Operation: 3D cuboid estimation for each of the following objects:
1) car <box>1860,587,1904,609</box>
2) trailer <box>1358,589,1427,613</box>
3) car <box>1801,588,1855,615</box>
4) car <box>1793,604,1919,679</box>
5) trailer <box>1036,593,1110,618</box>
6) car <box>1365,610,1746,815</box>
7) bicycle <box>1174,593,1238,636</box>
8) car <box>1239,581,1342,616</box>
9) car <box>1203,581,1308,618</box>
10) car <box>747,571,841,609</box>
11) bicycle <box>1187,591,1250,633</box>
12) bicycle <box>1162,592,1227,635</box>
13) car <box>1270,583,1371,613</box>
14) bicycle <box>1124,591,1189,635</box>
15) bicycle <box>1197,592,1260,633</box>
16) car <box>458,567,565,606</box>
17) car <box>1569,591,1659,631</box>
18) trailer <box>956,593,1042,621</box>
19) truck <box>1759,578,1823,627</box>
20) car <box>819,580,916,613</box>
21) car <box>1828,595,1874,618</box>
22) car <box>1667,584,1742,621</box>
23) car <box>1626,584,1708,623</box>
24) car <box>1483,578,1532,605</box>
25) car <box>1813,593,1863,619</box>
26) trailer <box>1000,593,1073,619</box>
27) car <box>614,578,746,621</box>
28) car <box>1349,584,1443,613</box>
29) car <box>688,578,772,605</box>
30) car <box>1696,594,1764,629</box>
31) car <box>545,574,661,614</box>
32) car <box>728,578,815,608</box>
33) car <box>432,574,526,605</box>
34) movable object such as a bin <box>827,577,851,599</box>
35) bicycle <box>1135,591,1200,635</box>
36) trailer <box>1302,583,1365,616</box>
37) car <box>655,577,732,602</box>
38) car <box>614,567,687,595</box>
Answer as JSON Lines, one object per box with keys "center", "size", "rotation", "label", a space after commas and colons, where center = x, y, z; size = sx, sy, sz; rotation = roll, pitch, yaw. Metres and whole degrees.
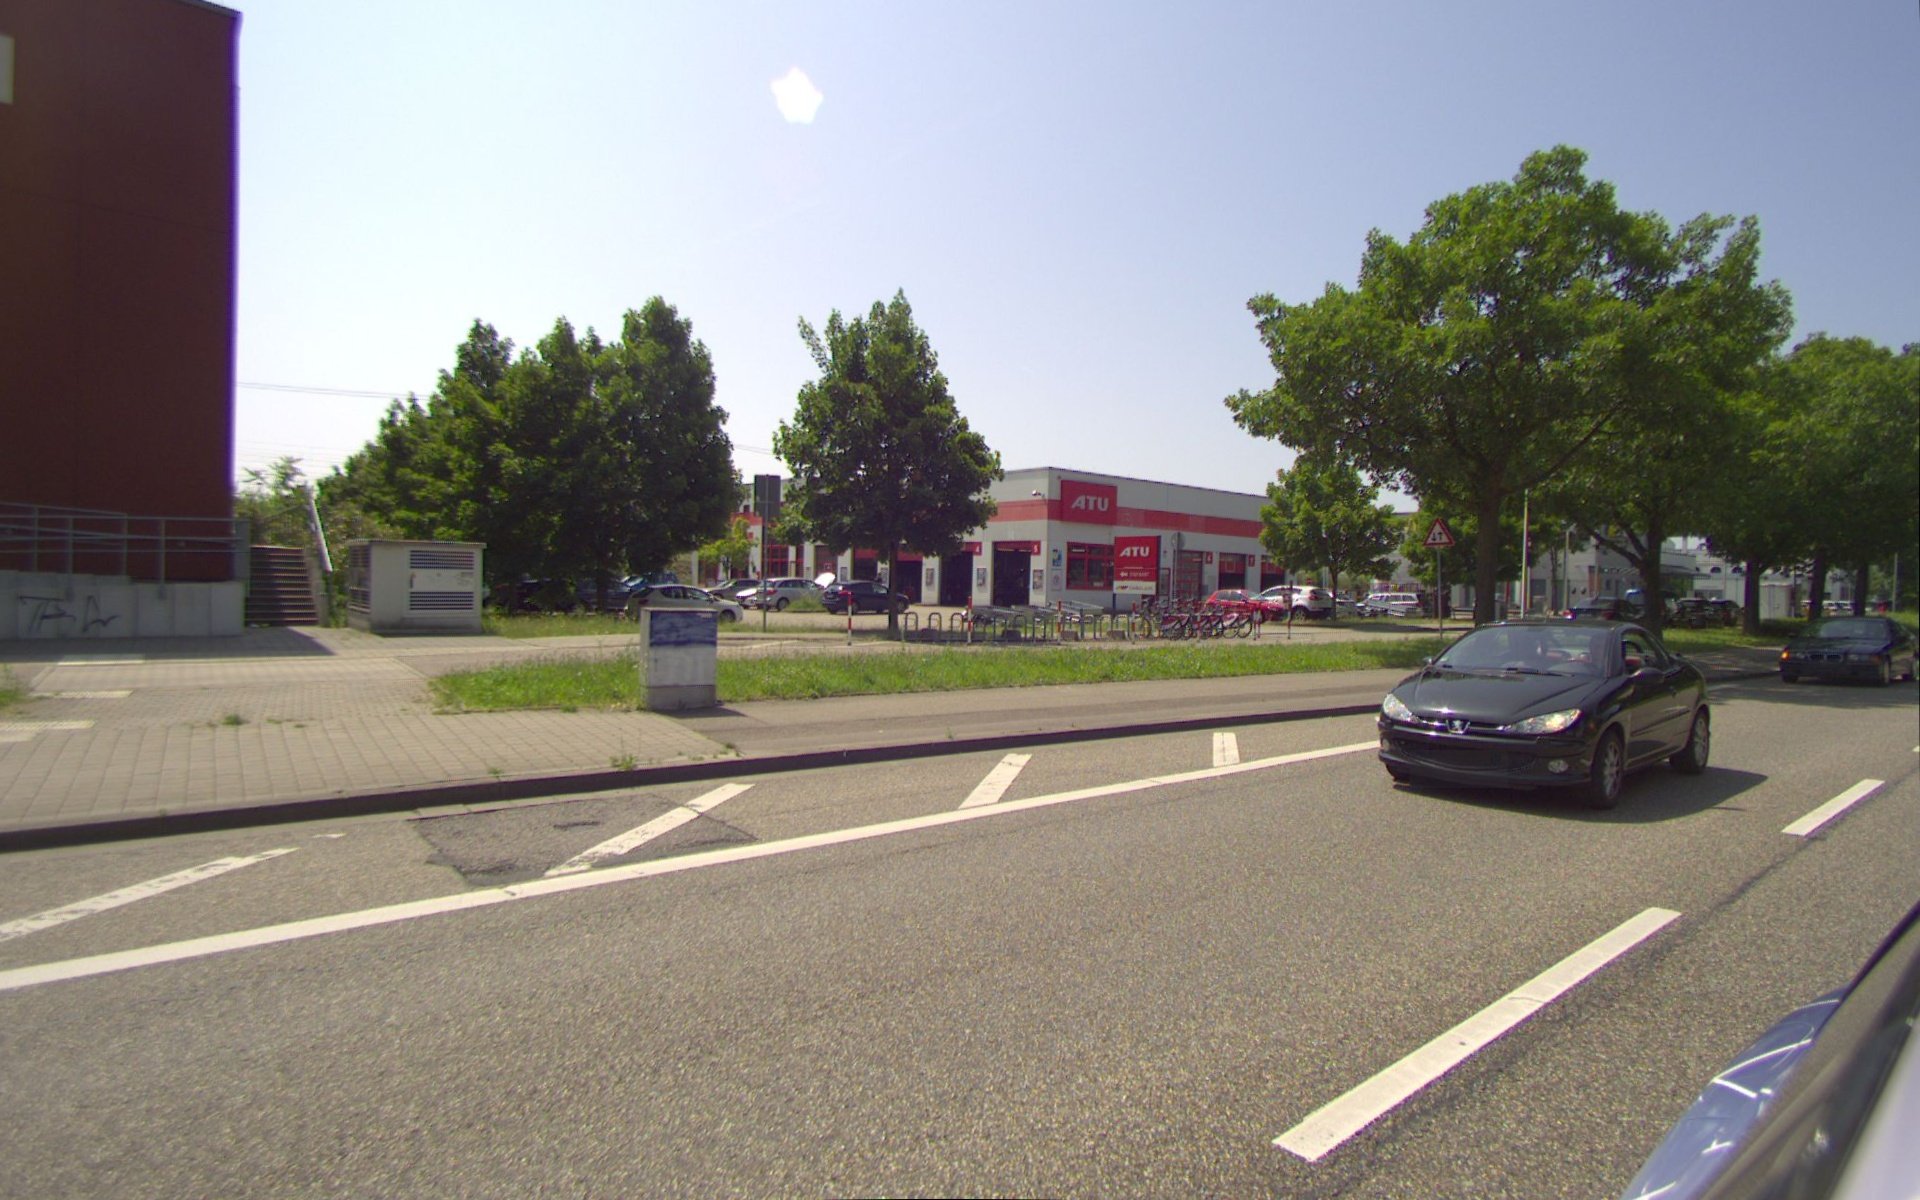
{"center": [65.796, -0.143, 72.195], "size": [3.928, 1.485, 1.719], "rotation": [1, 1, -40], "label": "car"}
{"center": [20.733, 0.051, 48.536], "size": [1.551, 1.065, 2.639], "rotation": [1, 1, -42], "label": "trailer"}
{"center": [50.640, 0.104, 59.016], "size": [3.928, 1.485, 1.719], "rotation": [1, 1, -40], "label": "car"}
{"center": [18.634, 0.789, 20.822], "size": [4.072, 1.388, 1.640], "rotation": [1, -1, -41], "label": "car"}
{"center": [3.774, 0.171, 33.933], "size": [1.368, 0.771, 2.138], "rotation": [1, 1, -38], "label": "trailer"}
{"center": [5.222, 0.772, 8.667], "size": [3.929, 1.361, 1.641], "rotation": [1, -1, -41], "label": "car"}
{"center": [7.096, 0.405, 29.288], "size": [1.780, 1.138, 0.506], "rotation": [3, 1, 44], "label": "bicycle"}
{"center": [14.538, -0.089, 44.618], "size": [1.717, 1.419, 3.993], "rotation": [1, 1, -42], "label": "car"}
{"center": [12.590, -0.057, 43.253], "size": [1.717, 1.419, 3.993], "rotation": [1, 1, -42], "label": "car"}
{"center": [-7.816, -0.471, 47.928], "size": [4.072, 1.683, 1.716], "rotation": [0, 1, -40], "label": "car"}
{"center": [7.591, 0.342, 29.779], "size": [1.780, 1.138, 0.506], "rotation": [3, 1, 44], "label": "bicycle"}
{"center": [6.658, 0.369, 28.835], "size": [1.780, 1.138, 0.506], "rotation": [3, 1, 44], "label": "bicycle"}
{"center": [16.397, -0.111, 46.096], "size": [1.717, 1.223, 3.993], "rotation": [1, 1, -42], "label": "car"}
{"center": [5.438, 0.336, 28.108], "size": [1.780, 1.138, 0.506], "rotation": [3, 1, 44], "label": "bicycle"}
{"center": [8.014, 0.348, 30.225], "size": [1.780, 1.138, 0.506], "rotation": [3, 1, 44], "label": "bicycle"}
{"center": [-19.517, -0.560, 44.113], "size": [3.927, 1.600, 1.711], "rotation": [1, 1, -39], "label": "car"}
{"center": [24.183, 0.396, 37.380], "size": [3.928, 1.388, 1.642], "rotation": [1, 1, -40], "label": "car"}
{"center": [1.200, 0.207, 31.736], "size": [1.423, 0.771, 2.467], "rotation": [1, 1, -38], "label": "trailer"}
{"center": [45.851, 0.125, 55.829], "size": [3.927, 2.599, 1.905], "rotation": [1, 1, -38], "label": "truck"}
{"center": [-4.130, -0.151, 45.593], "size": [4.072, 1.390, 1.716], "rotation": [0, 2, -40], "label": "car"}
{"center": [60.522, 0.417, 68.711], "size": [3.928, 1.485, 1.719], "rotation": [1, 1, -40], "label": "car"}
{"center": [32.736, 0.104, 44.490], "size": [3.928, 1.539, 1.719], "rotation": [1, 1, -40], "label": "car"}
{"center": [28.743, 0.141, 41.083], "size": [3.928, 1.485, 1.719], "rotation": [1, 1, -40], "label": "car"}
{"center": [34.411, -0.500, 63.587], "size": [1.754, 1.616, 3.937], "rotation": [2, 1, 43], "label": "car"}
{"center": [55.175, 0.379, 63.610], "size": [3.928, 1.485, 1.719], "rotation": [1, 1, -40], "label": "car"}
{"center": [2.462, 0.190, 32.868], "size": [1.244, 0.771, 2.138], "rotation": [1, 1, -38], "label": "trailer"}
{"center": [-9.328, -0.029, 33.869], "size": [3.903, 1.329, 1.652], "rotation": [0, 2, -40], "label": "car"}
{"center": [21.741, -0.078, 50.583], "size": [1.661, 1.317, 3.993], "rotation": [1, 1, -42], "label": "car"}
{"center": [-12.169, -0.449, 53.670], "size": [4.072, 1.376, 1.647], "rotation": [0, 2, -41], "label": "car"}
{"center": [36.948, 0.544, 48.506], "size": [3.928, 1.532, 1.719], "rotation": [1, 1, -40], "label": "car"}
{"center": [-13.910, -0.230, 39.531], "size": [3.927, 1.444, 1.711], "rotation": [1, 1, -39], "label": "car"}
{"center": [-9.323, -0.323, 50.156], "size": [3.930, 1.389, 1.725], "rotation": [0, 1, -41], "label": "car"}
{"center": [-23.916, -0.515, 50.376], "size": [3.930, 1.477, 1.710], "rotation": [1, 1, -41], "label": "car"}
{"center": [-7.261, -0.717, 60.643], "size": [1.047, 1.274, 1.003], "rotation": [1, 1, -36], "label": "movable object such as a bin"}
{"center": [5.847, 0.354, 28.530], "size": [1.780, 1.138, 0.506], "rotation": [3, 1, 44], "label": "bicycle"}
{"center": [18.737, -0.053, 50.829], "size": [1.391, 1.546, 2.639], "rotation": [1, 1, -42], "label": "trailer"}
{"center": [-15.656, -0.590, 59.474], "size": [4.072, 1.376, 1.647], "rotation": [0, 2, -41], "label": "car"}
{"center": [-19.060, -1.186, 62.437], "size": [3.930, 1.626, 1.710], "rotation": [1, 1, -41], "label": "car"}
